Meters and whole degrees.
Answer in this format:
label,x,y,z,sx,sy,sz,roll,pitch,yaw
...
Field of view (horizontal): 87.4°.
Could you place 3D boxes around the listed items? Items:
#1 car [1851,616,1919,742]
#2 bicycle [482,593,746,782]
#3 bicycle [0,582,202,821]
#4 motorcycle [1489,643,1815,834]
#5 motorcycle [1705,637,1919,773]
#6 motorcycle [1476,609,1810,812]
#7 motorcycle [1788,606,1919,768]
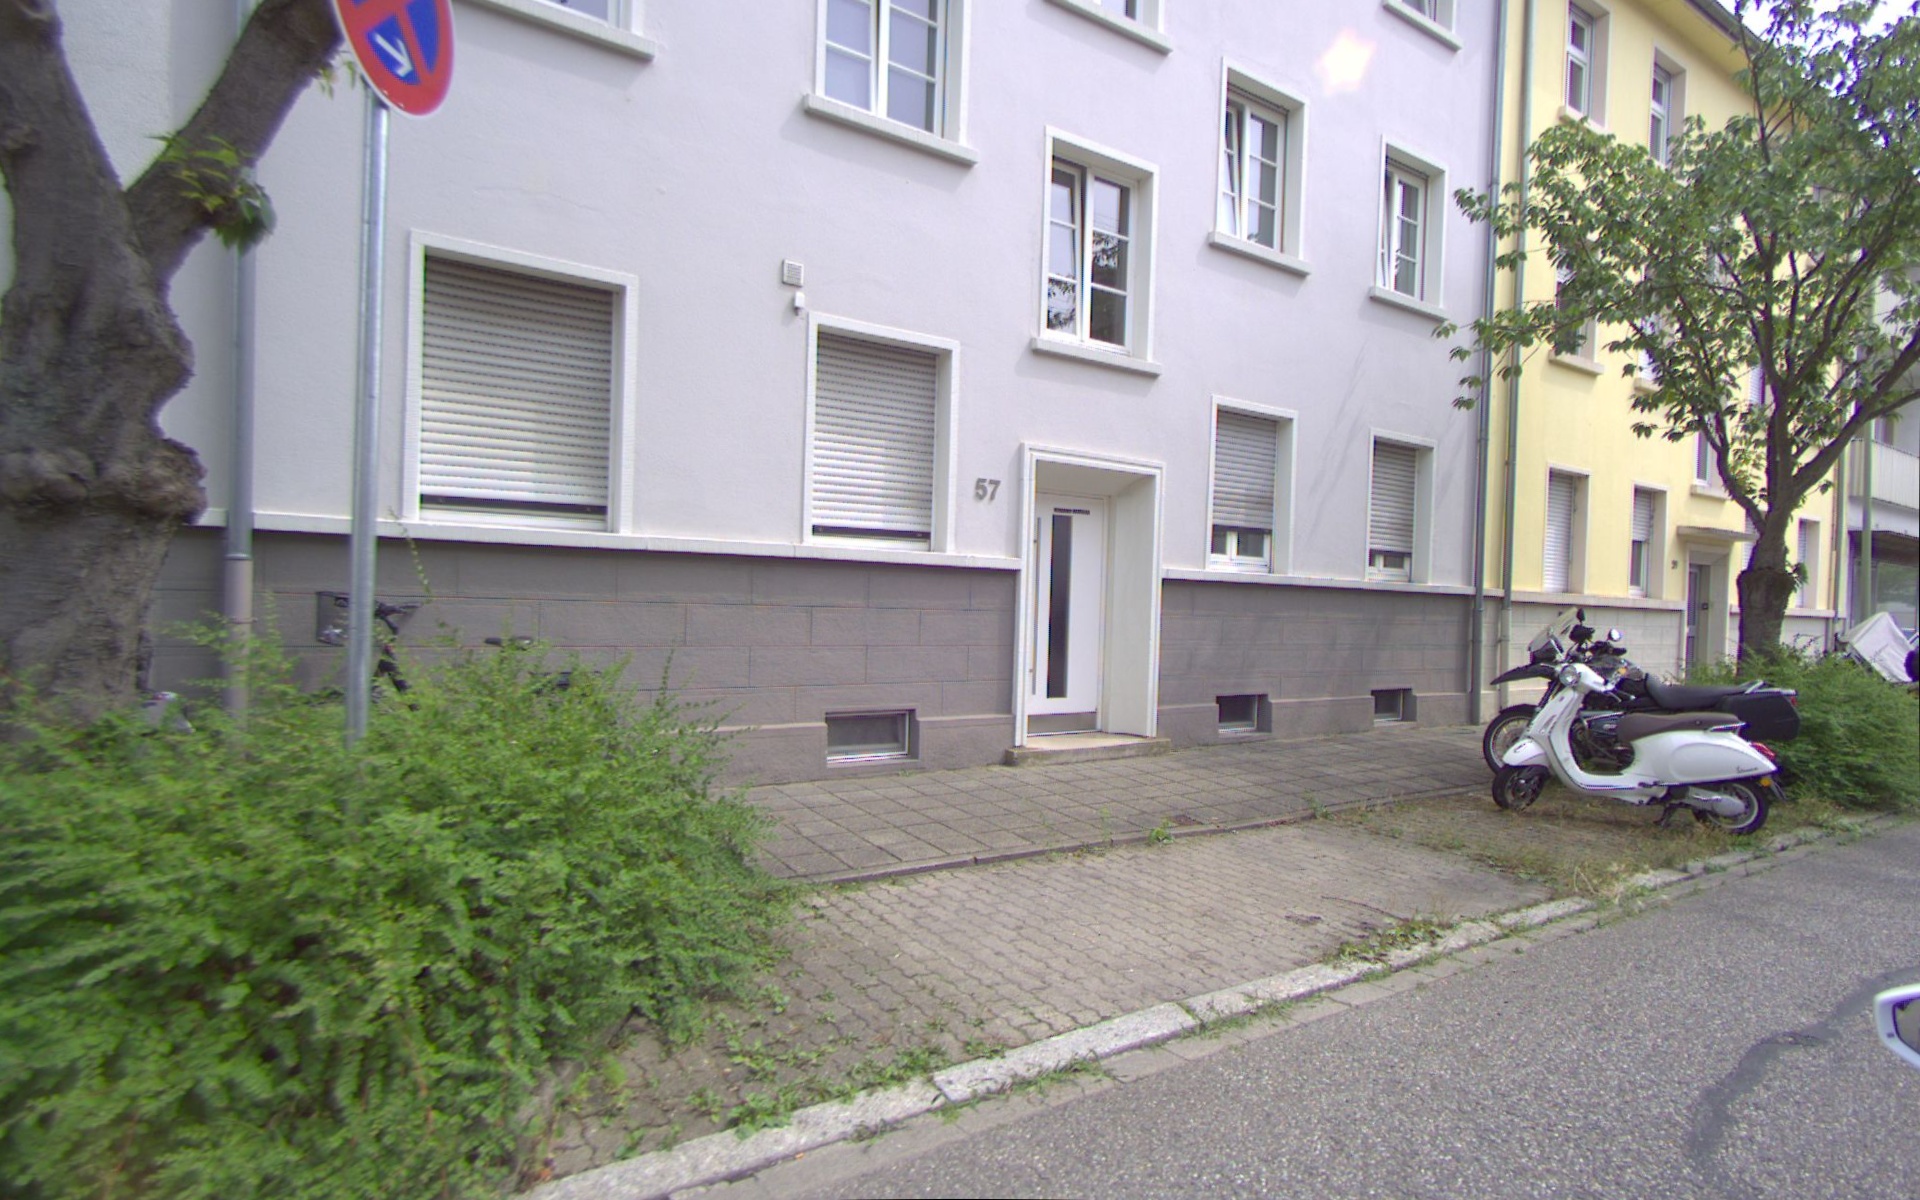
label,x,y,z,sx,sy,sz,roll,pitch,yaw
car,13.966,1.070,13.676,4.212,1.577,1.746,2,-1,-34
bicycle,-2.035,0.499,5.988,1.419,1.020,0.418,2,-2,-33
bicycle,-4.266,0.435,4.426,1.419,1.020,0.418,2,-2,-33
motorcycle,4.904,0.932,7.278,1.878,1.207,0.596,0,-2,31
motorcycle,9.459,1.074,10.661,0.636,1.328,2.435,2,-2,-32
motorcycle,5.497,0.831,8.261,2.199,1.501,0.596,0,-2,31
motorcycle,10.791,0.933,11.553,0.920,1.698,2.475,2,0,13
